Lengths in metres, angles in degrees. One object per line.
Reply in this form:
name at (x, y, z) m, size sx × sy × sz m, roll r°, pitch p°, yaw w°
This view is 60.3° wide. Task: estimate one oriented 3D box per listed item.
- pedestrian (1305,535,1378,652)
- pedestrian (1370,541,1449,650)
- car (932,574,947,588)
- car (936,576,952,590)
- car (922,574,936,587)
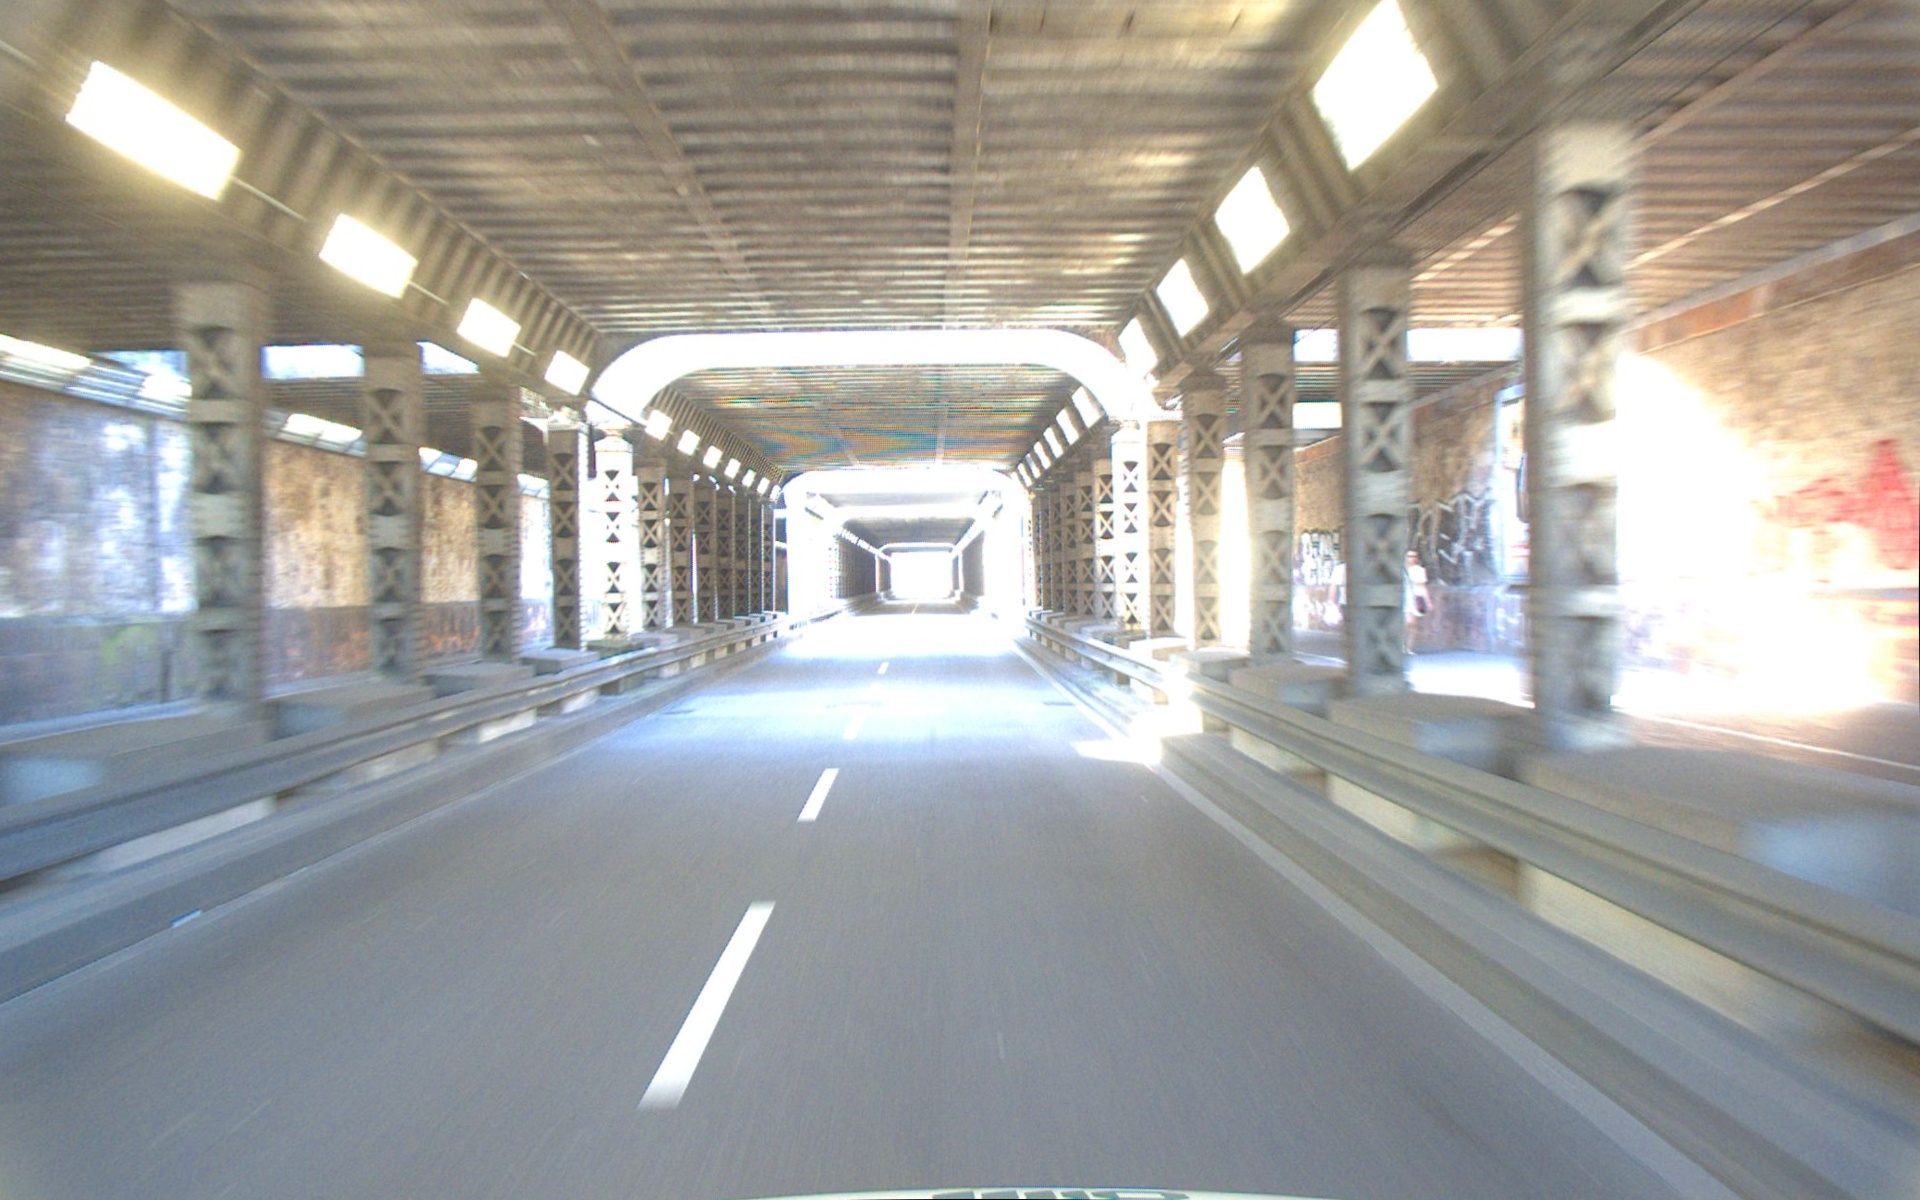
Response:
pedestrian at (6.357, -0.109, 27.595) m, size 0.863 × 1.867 × 0.922 m, roll -3°, pitch 1°, yaw -4°
pedestrian at (7.260, -0.076, 26.751) m, size 0.898 × 1.684 × 0.886 m, roll -3°, pitch 1°, yaw -4°
car at (-2.817, -2.624, 226.385) m, size 1.953 × 1.815 × 3.999 m, roll -2°, pitch 1°, yaw -1°
car at (-2.139, -2.217, 217.407) m, size 1.953 × 1.815 × 3.999 m, roll -2°, pitch 1°, yaw -1°
car at (-4.353, -2.746, 232.663) m, size 1.953 × 1.815 × 3.999 m, roll -2°, pitch 1°, yaw -1°
